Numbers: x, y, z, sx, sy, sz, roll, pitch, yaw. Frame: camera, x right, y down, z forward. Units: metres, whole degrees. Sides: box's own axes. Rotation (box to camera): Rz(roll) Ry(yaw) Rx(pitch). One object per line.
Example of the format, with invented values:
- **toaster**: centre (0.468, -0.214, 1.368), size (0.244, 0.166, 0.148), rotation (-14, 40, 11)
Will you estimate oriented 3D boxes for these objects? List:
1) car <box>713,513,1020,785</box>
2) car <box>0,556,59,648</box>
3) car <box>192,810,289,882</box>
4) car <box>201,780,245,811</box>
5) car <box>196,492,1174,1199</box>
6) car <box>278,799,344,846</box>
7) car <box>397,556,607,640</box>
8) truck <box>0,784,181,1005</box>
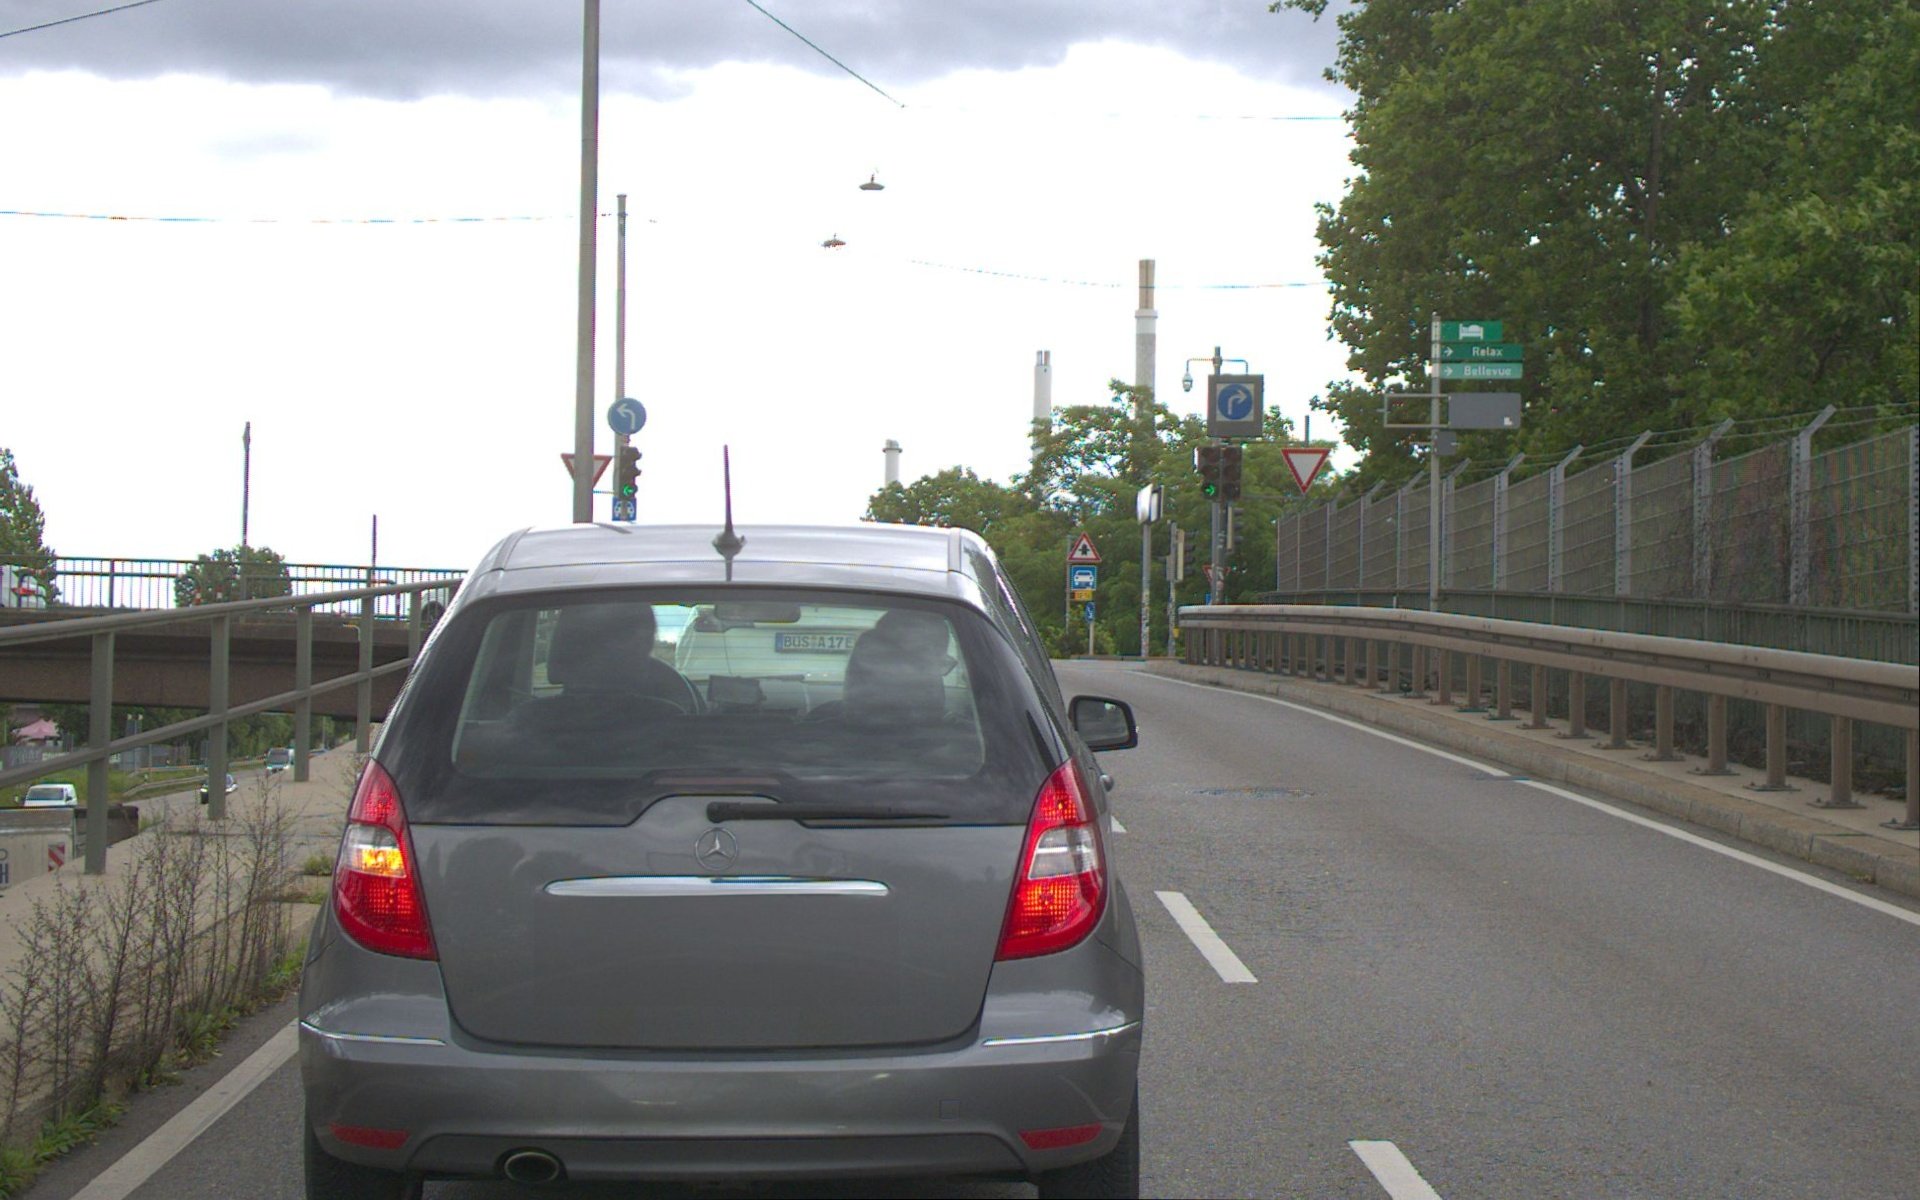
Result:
- **car**: centre (-0.750, 0.293, 24.129), size (1.931, 1.711, 4.406), rotation (1, 1, -4)
- **car**: centre (-21.021, 0.006, 71.139), size (4.200, 1.864, 2.000), rotation (1, 0, 2)
- **car**: centre (-21.612, 7.378, 103.442), size (1.898, 1.996, 4.958), rotation (1, -2, -1)
- **car**: centre (-43.256, 11.479, 201.799), size (1.915, 1.733, 4.553), rotation (0, -2, -4)
- **car**: centre (-0.551, 0.568, 8.600), size (1.857, 1.583, 4.000), rotation (1, 1, -1)
- **car**: centre (-23.973, 8.211, 127.141), size (1.898, 1.616, 4.179), rotation (1, -2, -4)
- **car**: centre (-9.043, -0.060, 67.699), size (1.834, 1.571, 4.344), rotation (0, 1, -44)
- **truck**: centre (-15.181, 4.782, 57.275), size (2.746, 3.282, 7.441), rotation (1, -2, -1)
